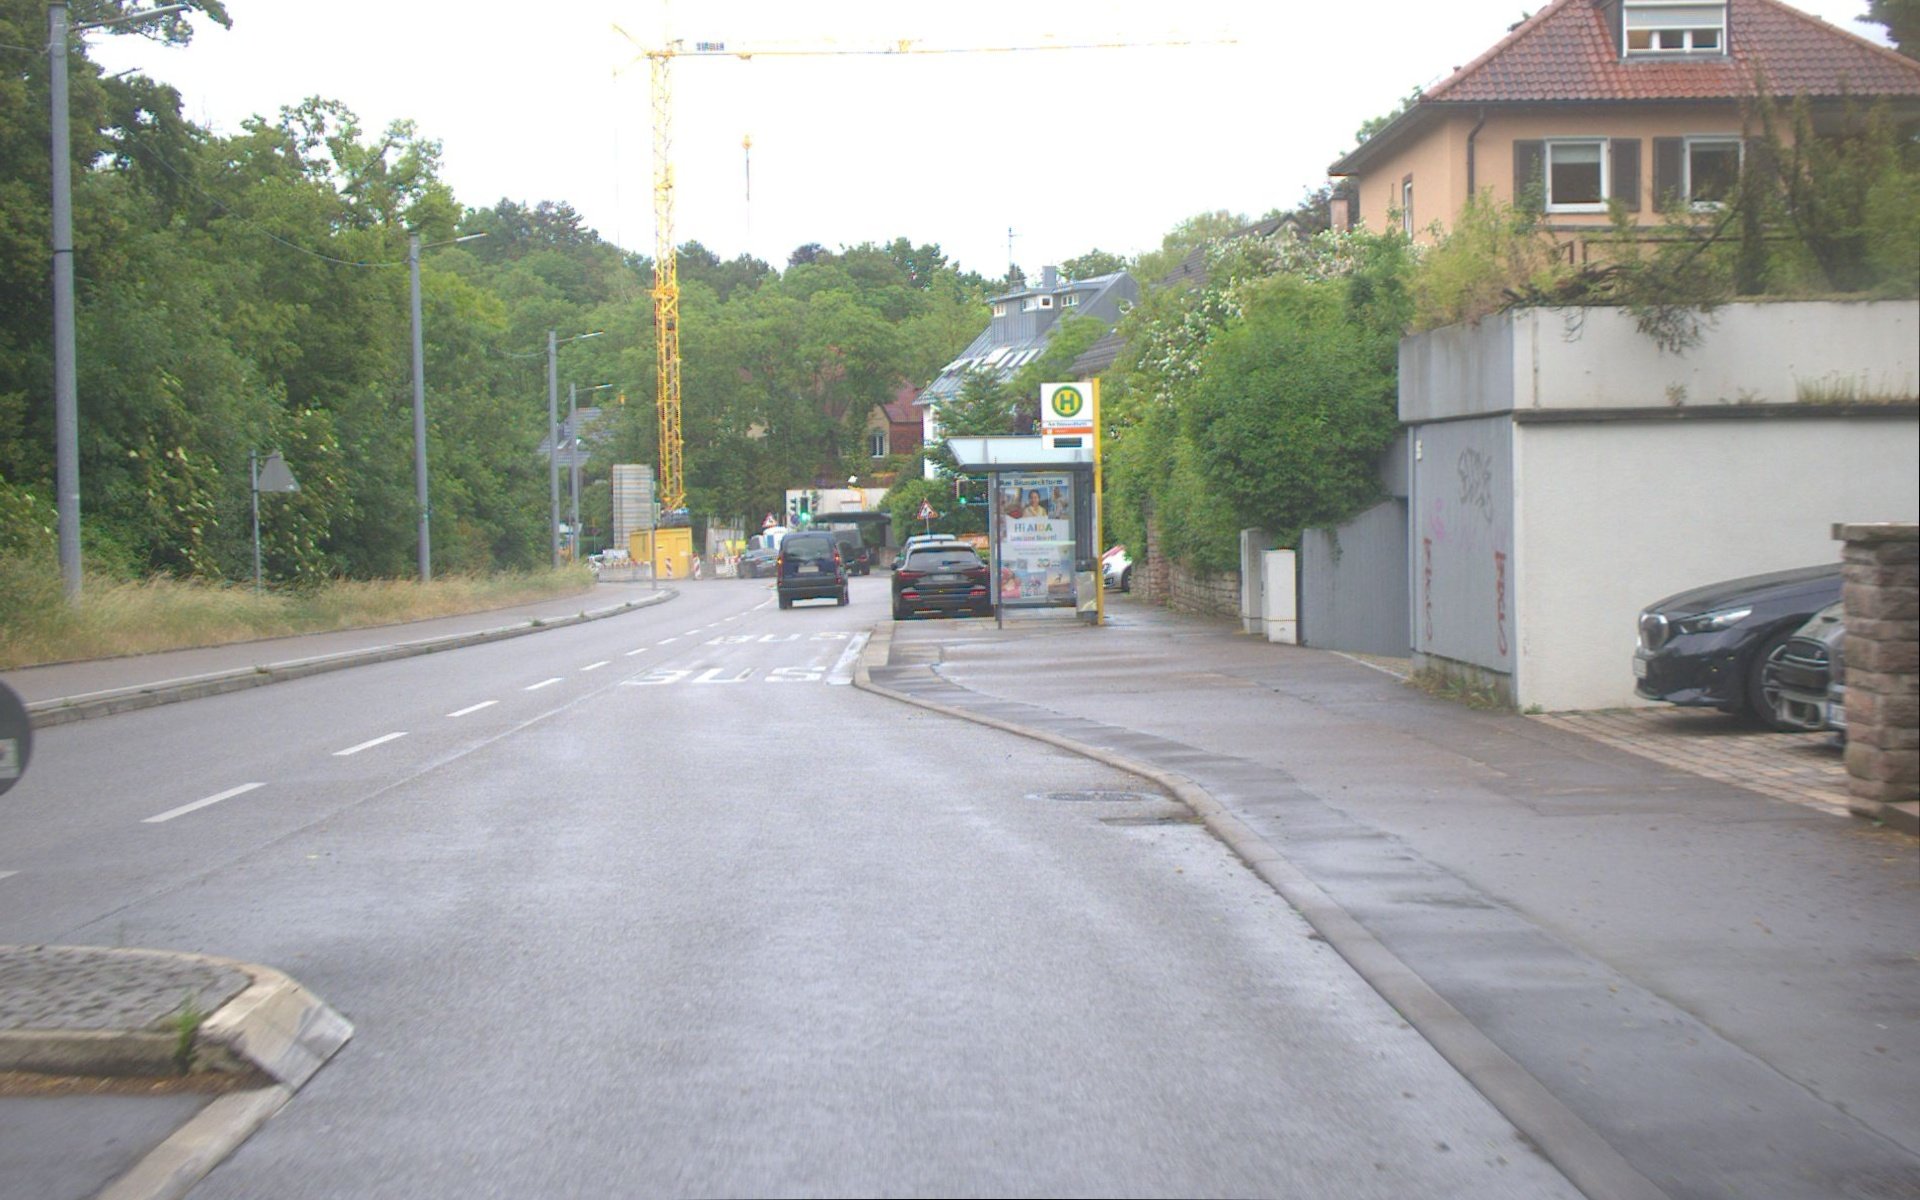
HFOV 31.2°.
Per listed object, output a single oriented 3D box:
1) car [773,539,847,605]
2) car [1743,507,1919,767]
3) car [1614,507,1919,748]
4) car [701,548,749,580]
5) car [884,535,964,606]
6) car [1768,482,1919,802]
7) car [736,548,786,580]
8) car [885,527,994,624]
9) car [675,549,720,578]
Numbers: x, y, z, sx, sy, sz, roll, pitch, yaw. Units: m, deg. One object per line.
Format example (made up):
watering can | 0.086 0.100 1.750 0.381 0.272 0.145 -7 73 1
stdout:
car | -3.667 -0.686 84.606 1.667 1.588 3.683 0 1 0
car | 6.588 0.155 20.794 3.284 1.475 1.576 -2 2 -1
car | 6.452 0.173 23.103 3.769 1.547 1.609 1 1 -1
car | -12.028 -1.833 175.866 1.739 1.547 3.857 2 0 -14
car | -0.915 -0.770 88.419 1.993 1.766 4.114 0 1 0
car | 6.383 0.210 18.319 3.730 1.624 1.700 0 1 -1
car | -9.842 -1.787 169.801 1.739 1.547 3.857 0 1 -14
car | -0.375 -0.470 64.737 1.993 1.766 4.114 0 1 0
car | -13.848 -1.925 181.415 1.739 1.547 3.857 0 1 -14
